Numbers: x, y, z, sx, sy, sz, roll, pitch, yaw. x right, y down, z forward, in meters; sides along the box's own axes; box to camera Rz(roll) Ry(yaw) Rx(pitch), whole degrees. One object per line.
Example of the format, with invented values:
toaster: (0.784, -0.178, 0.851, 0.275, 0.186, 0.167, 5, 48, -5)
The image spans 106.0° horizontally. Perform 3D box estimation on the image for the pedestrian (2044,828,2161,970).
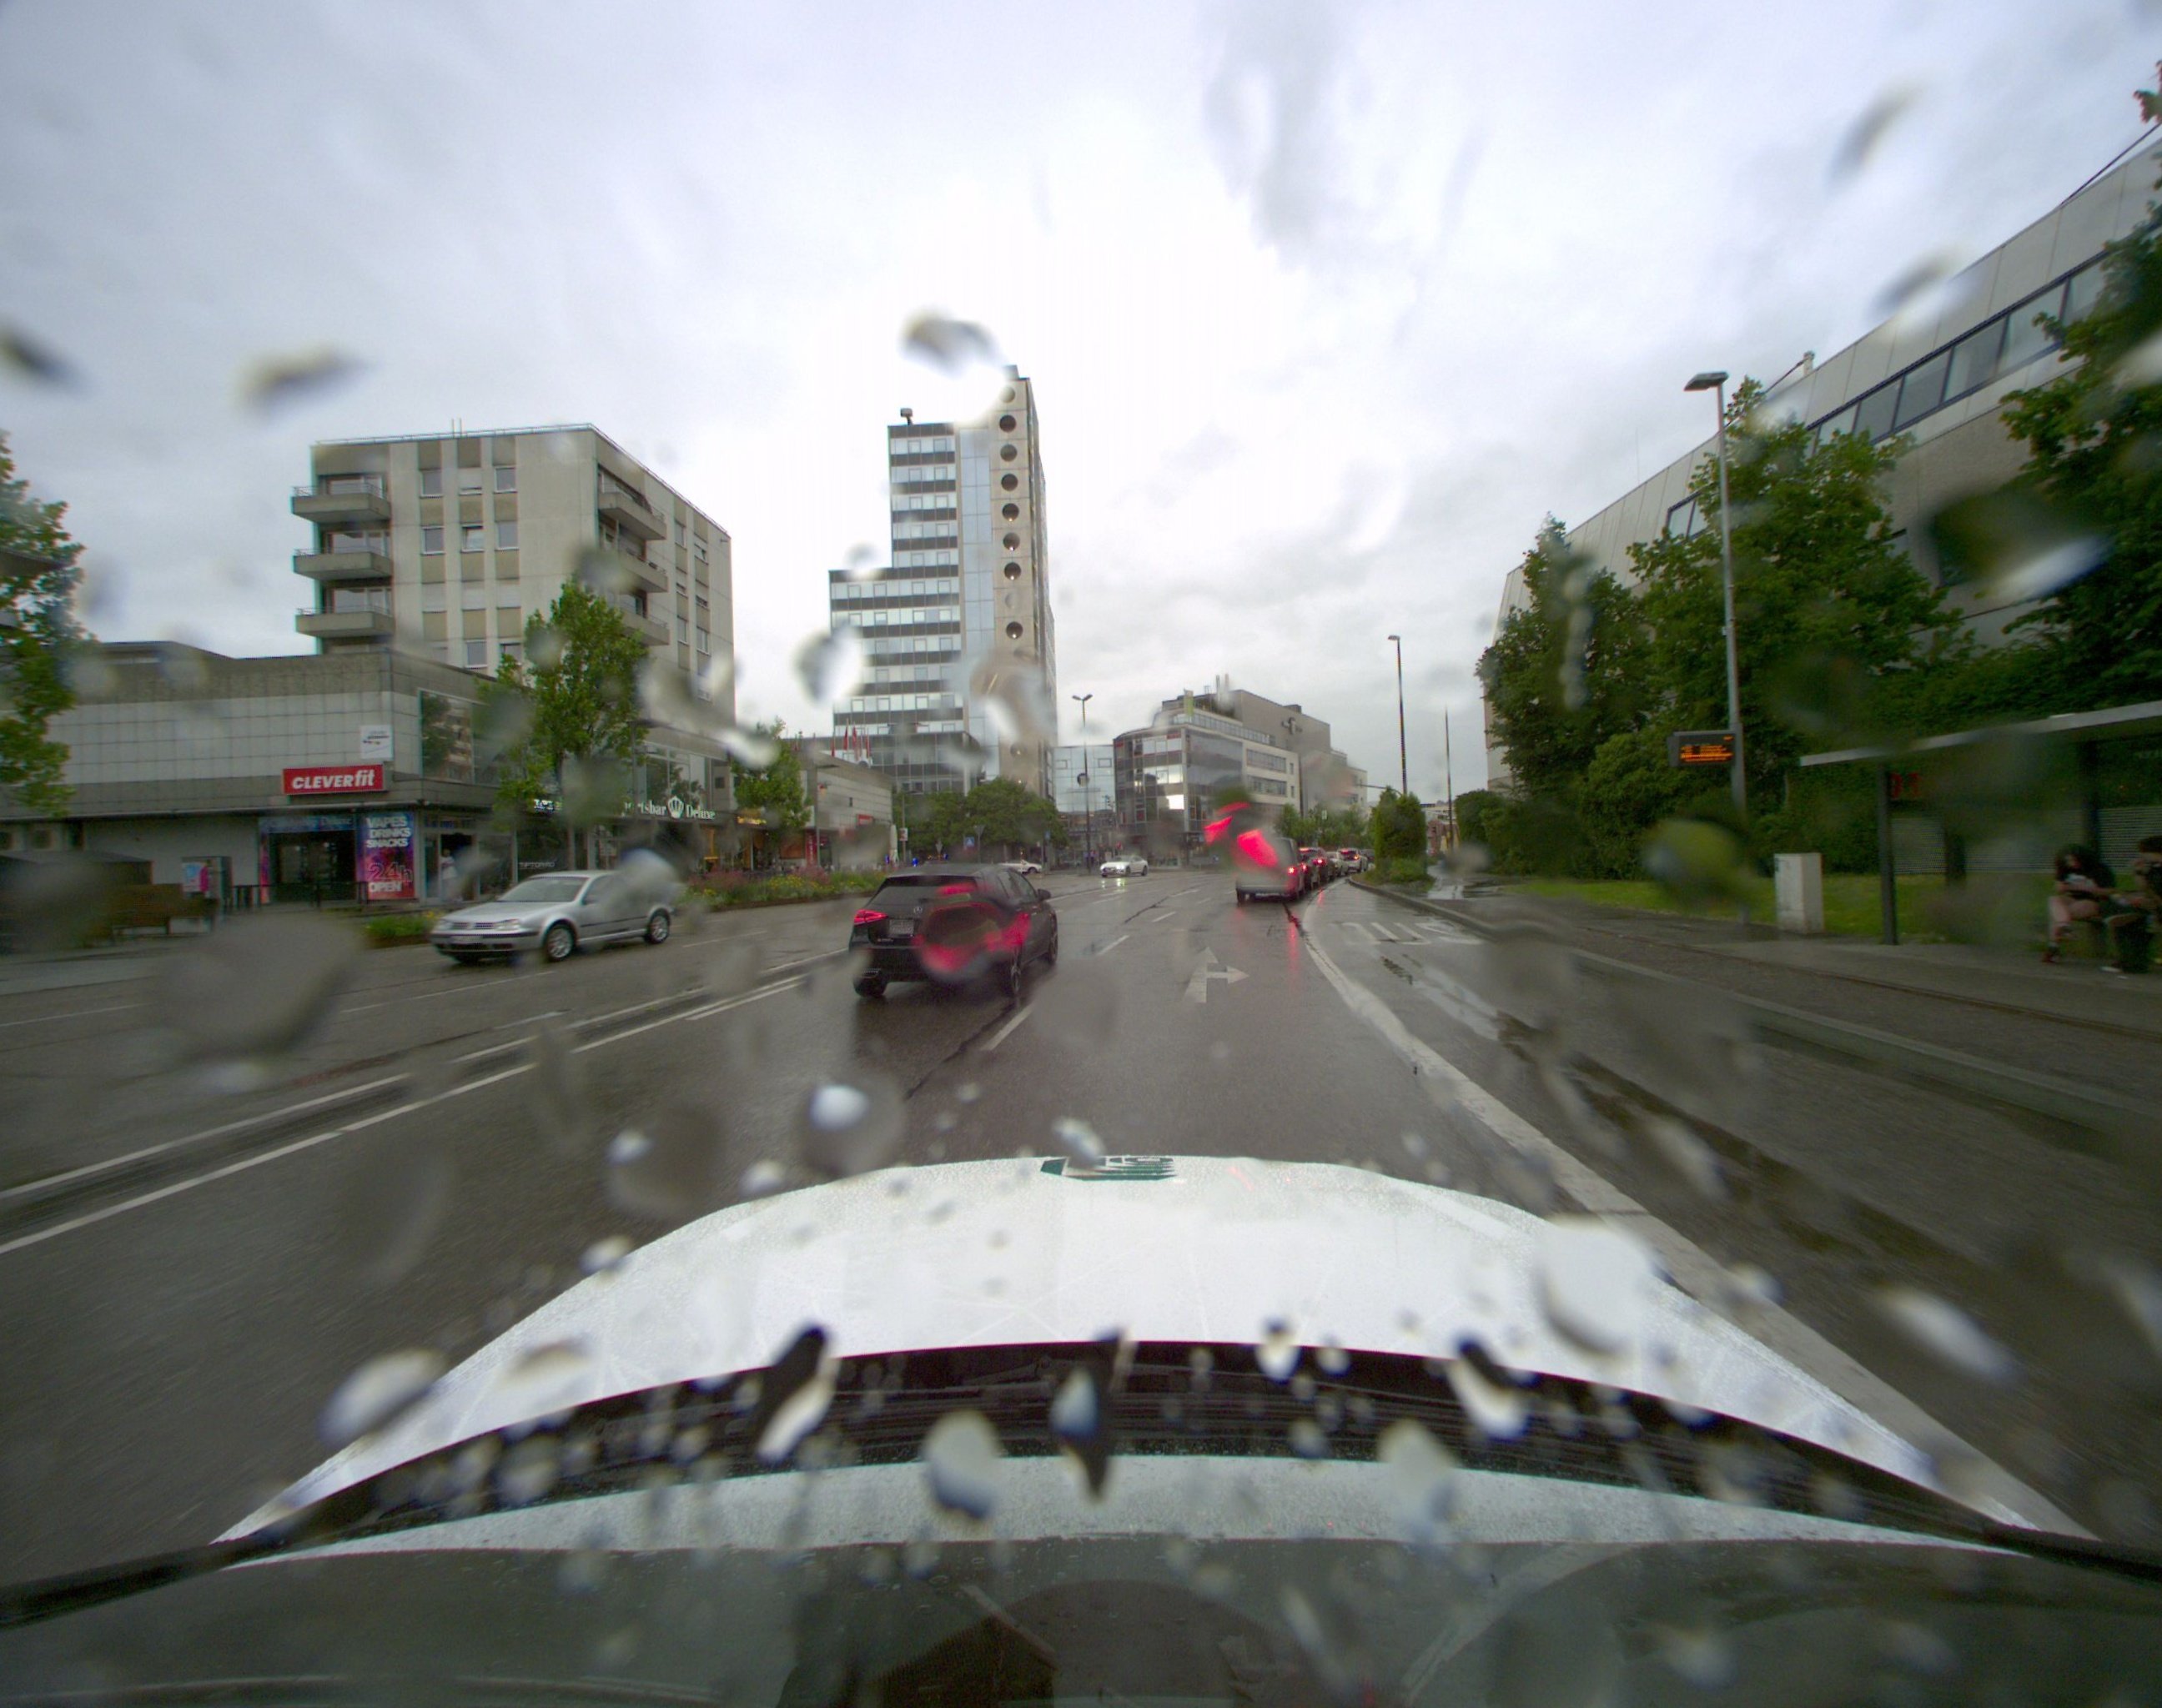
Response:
pedestrian: (10.434, 0.415, 8.002, 1.025, 1.281, 0.692, -4, 0, 2)

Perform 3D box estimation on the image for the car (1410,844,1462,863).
car: (33.910, -0.062, 77.781, 4.505, 1.682, 1.879, -1, 0, -20)

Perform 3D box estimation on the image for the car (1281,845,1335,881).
car: (11.060, 0.406, 39.467, 1.884, 1.621, 4.360, -1, 0, 24)

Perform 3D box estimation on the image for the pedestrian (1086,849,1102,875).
pedestrian: (1.009, 0.631, 65.312, 1.160, 2.014, 1.326, -1, 0, -4)

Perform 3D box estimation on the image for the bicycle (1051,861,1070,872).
bicycle: (-2.585, 1.590, 102.463, 2.265, 1.247, 0.677, -2, -1, 1)

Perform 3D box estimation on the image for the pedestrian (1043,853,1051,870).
pedestrian: (-4.023, 0.878, 96.158, 0.764, 2.014, 0.710, -1, -1, -17)

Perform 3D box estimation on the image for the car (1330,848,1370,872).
car: (17.057, 0.348, 51.509, 1.894, 1.400, 3.478, -2, -1, 26)

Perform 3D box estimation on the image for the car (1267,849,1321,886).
car: (8.702, 0.502, 33.054, 1.618, 1.386, 4.538, -1, 0, 21)

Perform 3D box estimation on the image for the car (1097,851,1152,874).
car: (2.980, 0.534, 54.645, 1.825, 1.460, 4.837, -1, 0, 27)

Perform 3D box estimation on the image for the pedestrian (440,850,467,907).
pedestrian: (-20.597, 0.806, 26.736, 0.423, 1.848, 0.503, -2, -1, 14)

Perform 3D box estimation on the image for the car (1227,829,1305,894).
car: (6.055, 0.233, 26.253, 1.979, 1.894, 4.609, -1, -1, 19)

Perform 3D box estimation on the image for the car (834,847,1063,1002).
car: (-1.397, 0.696, 10.163, 1.806, 1.529, 3.820, 0, 1, 7)

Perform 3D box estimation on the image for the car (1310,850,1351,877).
car: (14.070, 0.507, 45.797, 1.619, 1.448, 4.293, -1, 0, 24)

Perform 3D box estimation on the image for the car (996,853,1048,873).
car: (-5.138, 0.791, 71.393, 4.167, 1.595, 1.875, -1, 0, 9)

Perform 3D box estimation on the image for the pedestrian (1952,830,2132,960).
pedestrian: (10.285, 0.422, 8.750, 1.025, 1.281, 0.692, -4, 0, 2)

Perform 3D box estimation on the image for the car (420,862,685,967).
car: (-8.852, 0.925, 14.150, 1.692, 1.466, 4.107, -3, 0, 3)
